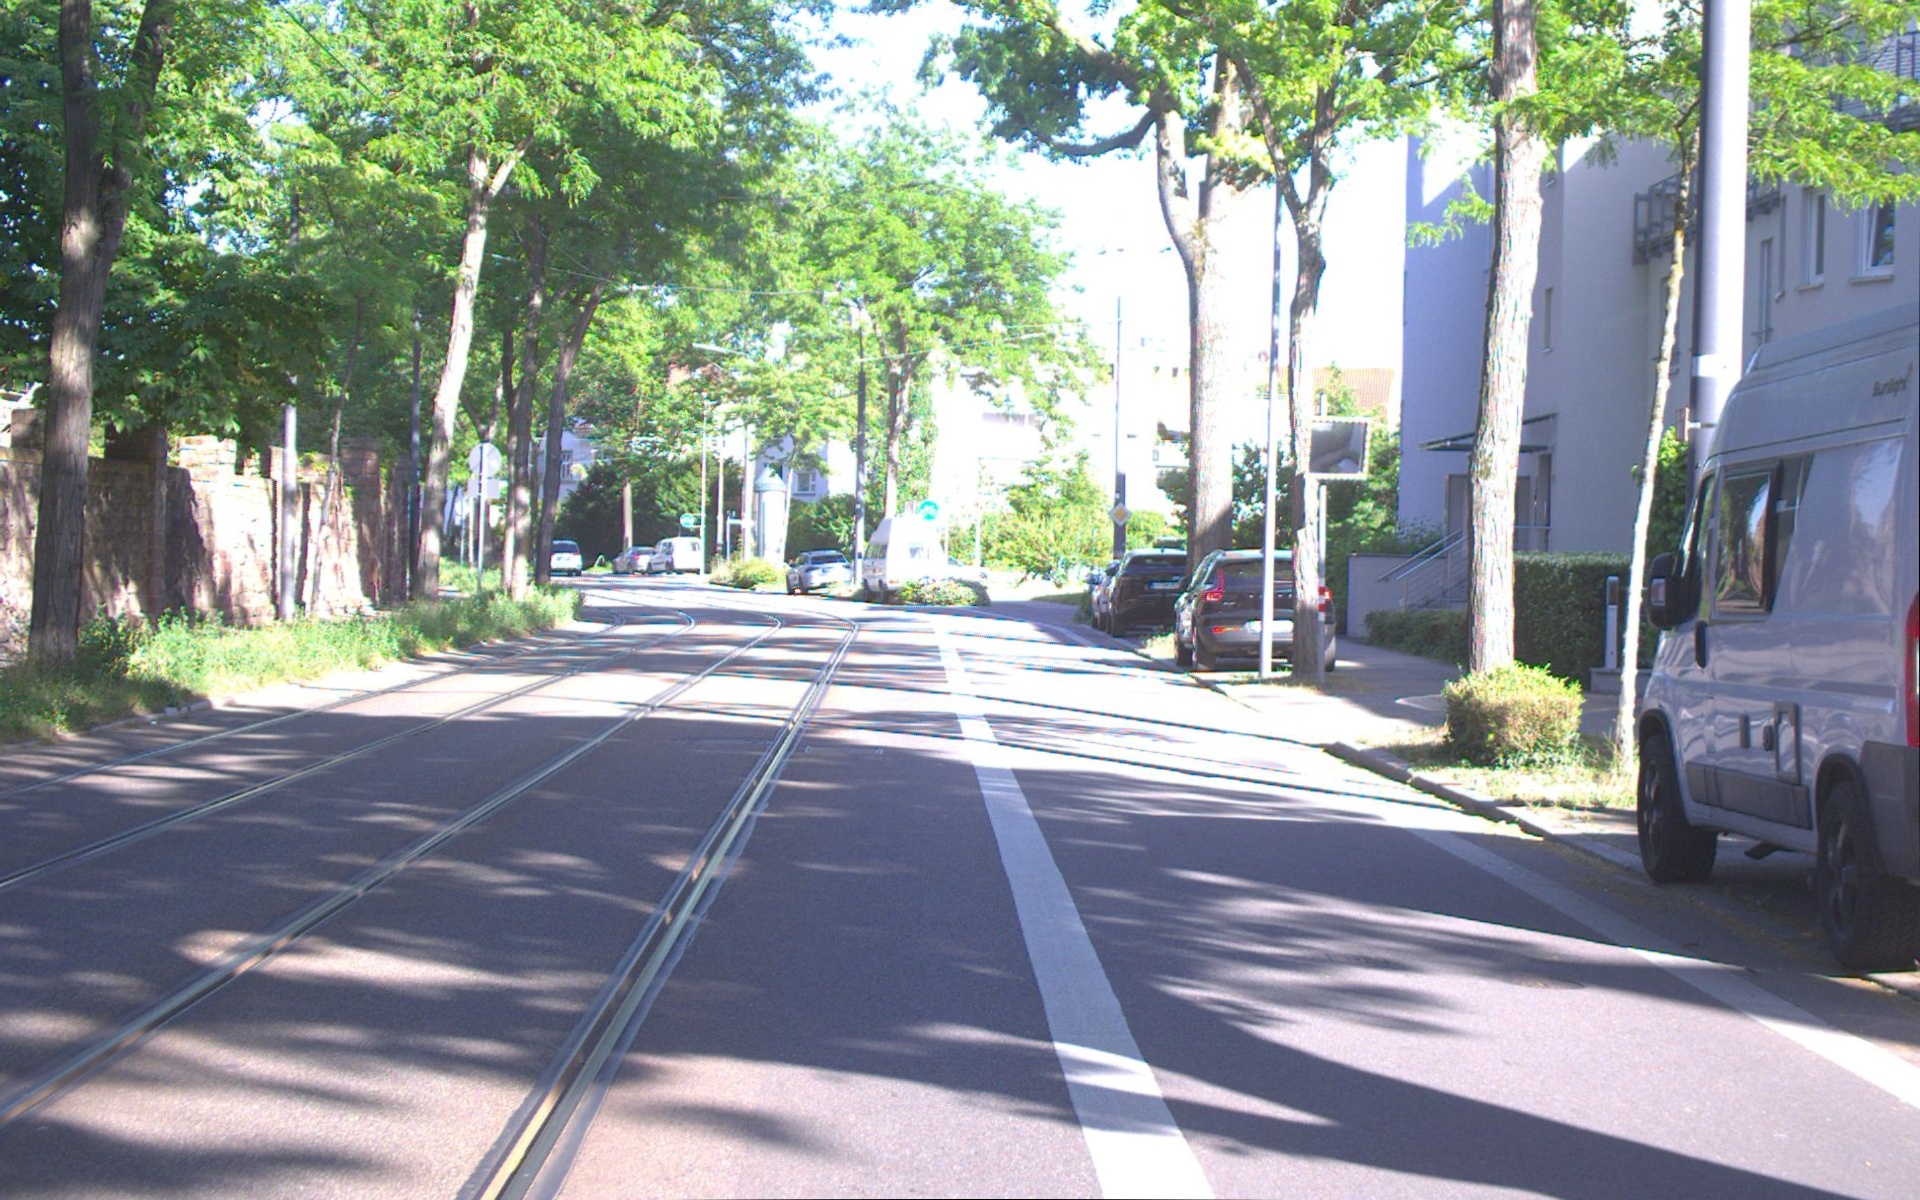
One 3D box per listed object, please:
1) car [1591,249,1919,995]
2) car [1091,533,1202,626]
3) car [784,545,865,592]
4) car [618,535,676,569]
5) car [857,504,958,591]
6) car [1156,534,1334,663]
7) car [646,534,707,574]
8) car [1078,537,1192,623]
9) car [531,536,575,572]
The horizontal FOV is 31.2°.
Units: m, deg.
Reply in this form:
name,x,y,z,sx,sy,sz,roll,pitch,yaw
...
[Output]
name,x,y,z,sx,sy,sz,roll,pitch,yaw
car,4.434,0.027,14.992,2.245,2.645,5.586,0,1,-1
car,3.501,-0.405,64.610,2.003,1.669,4.392,-1,1,3
car,-4.685,-1.100,118.439,2.002,1.555,4.394,1,1,-13
car,-15.872,-2.427,174.050,2.002,1.669,4.174,-1,1,-18
car,-1.560,-1.548,100.661,1.993,2.449,4.510,1,1,-14
car,3.865,-0.061,47.316,2.003,1.669,4.392,-1,1,-1
car,-13.880,-2.265,168.261,2.002,1.903,4.393,-1,1,-18
car,3.552,-0.435,70.432,2.003,1.669,4.393,-1,1,-1
car,-18.987,-2.161,160.351,1.865,1.669,4.174,1,1,-9
